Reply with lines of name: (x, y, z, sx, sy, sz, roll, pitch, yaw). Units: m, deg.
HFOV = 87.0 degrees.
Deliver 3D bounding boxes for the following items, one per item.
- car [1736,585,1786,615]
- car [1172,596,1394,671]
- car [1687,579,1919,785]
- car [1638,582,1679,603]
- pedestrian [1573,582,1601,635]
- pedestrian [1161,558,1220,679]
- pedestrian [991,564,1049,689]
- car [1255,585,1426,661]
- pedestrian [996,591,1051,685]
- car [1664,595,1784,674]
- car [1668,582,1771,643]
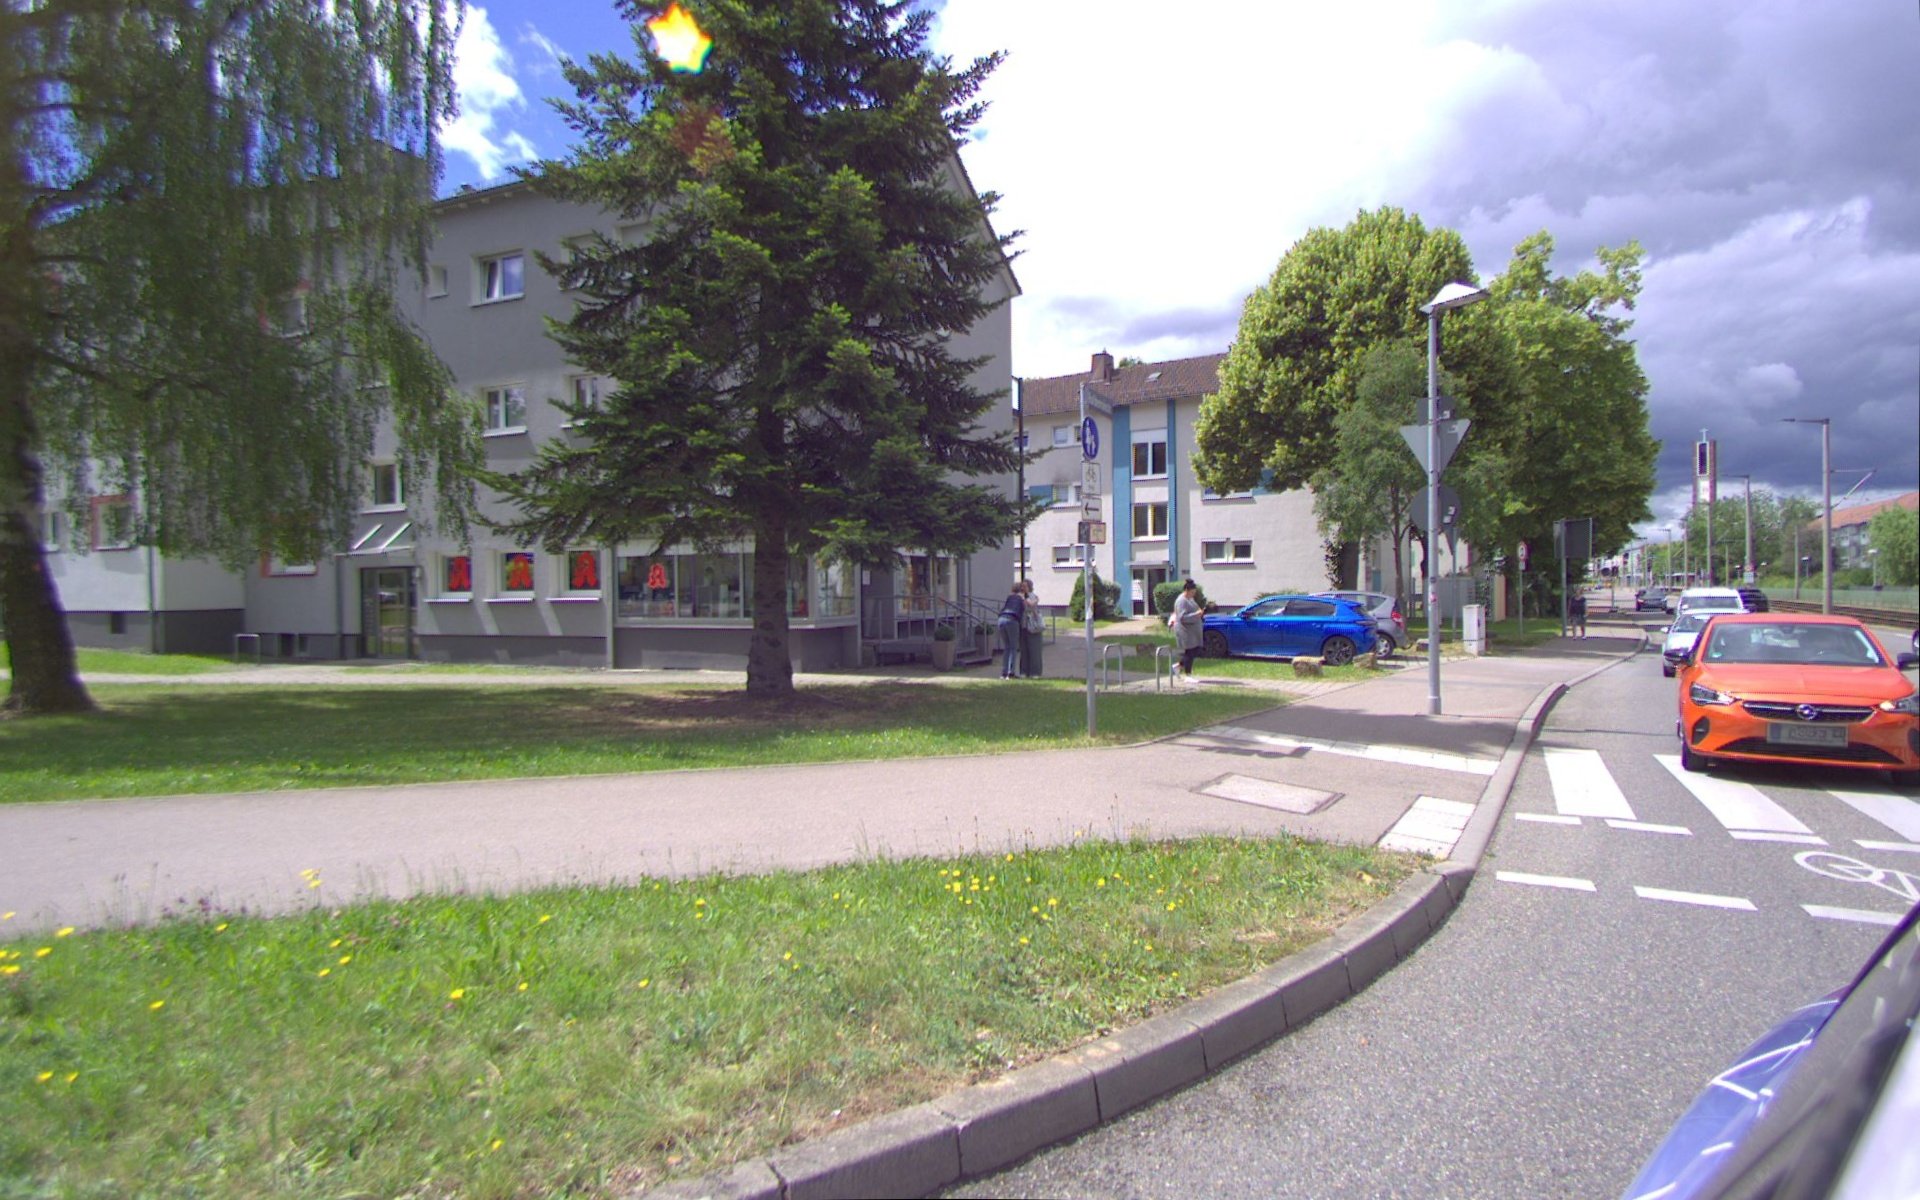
car: (43.968, -0.025, 55.610, 1.989, 1.544, 4.465, 2, 2, 37)
car: (7.130, 0.675, 22.334, 4.451, 1.259, 1.983, 3, 2, 25)
car: (8.187, 0.614, 9.865, 1.756, 1.577, 3.949, -1, 1, 36)
car: (48.445, -0.537, 70.179, 1.912, 1.333, 3.941, 1, 2, 41)
pedestrian: (20.267, 0.264, 32.725, 0.678, 1.681, 0.823, 1, 1, 28)
pedestrian: (3.847, 0.291, 16.983, 0.928, 1.981, 0.839, 0, 1, 12)
pedestrian: (1.023, 0.417, 17.182, 0.649, 2.039, 1.038, 1, 1, 25)
car: (9.335, 0.499, 24.831, 3.705, 1.576, 2.013, 3, 2, 27)
pedestrian: (1.095, 0.630, 17.336, 0.736, 1.549, 0.685, 1, 1, 25)
car: (16.159, 0.641, 21.343, 1.758, 1.415, 3.941, 1, 2, 41)
car: (22.112, 0.288, 29.607, 1.984, 1.627, 3.956, 1, 1, 31)
